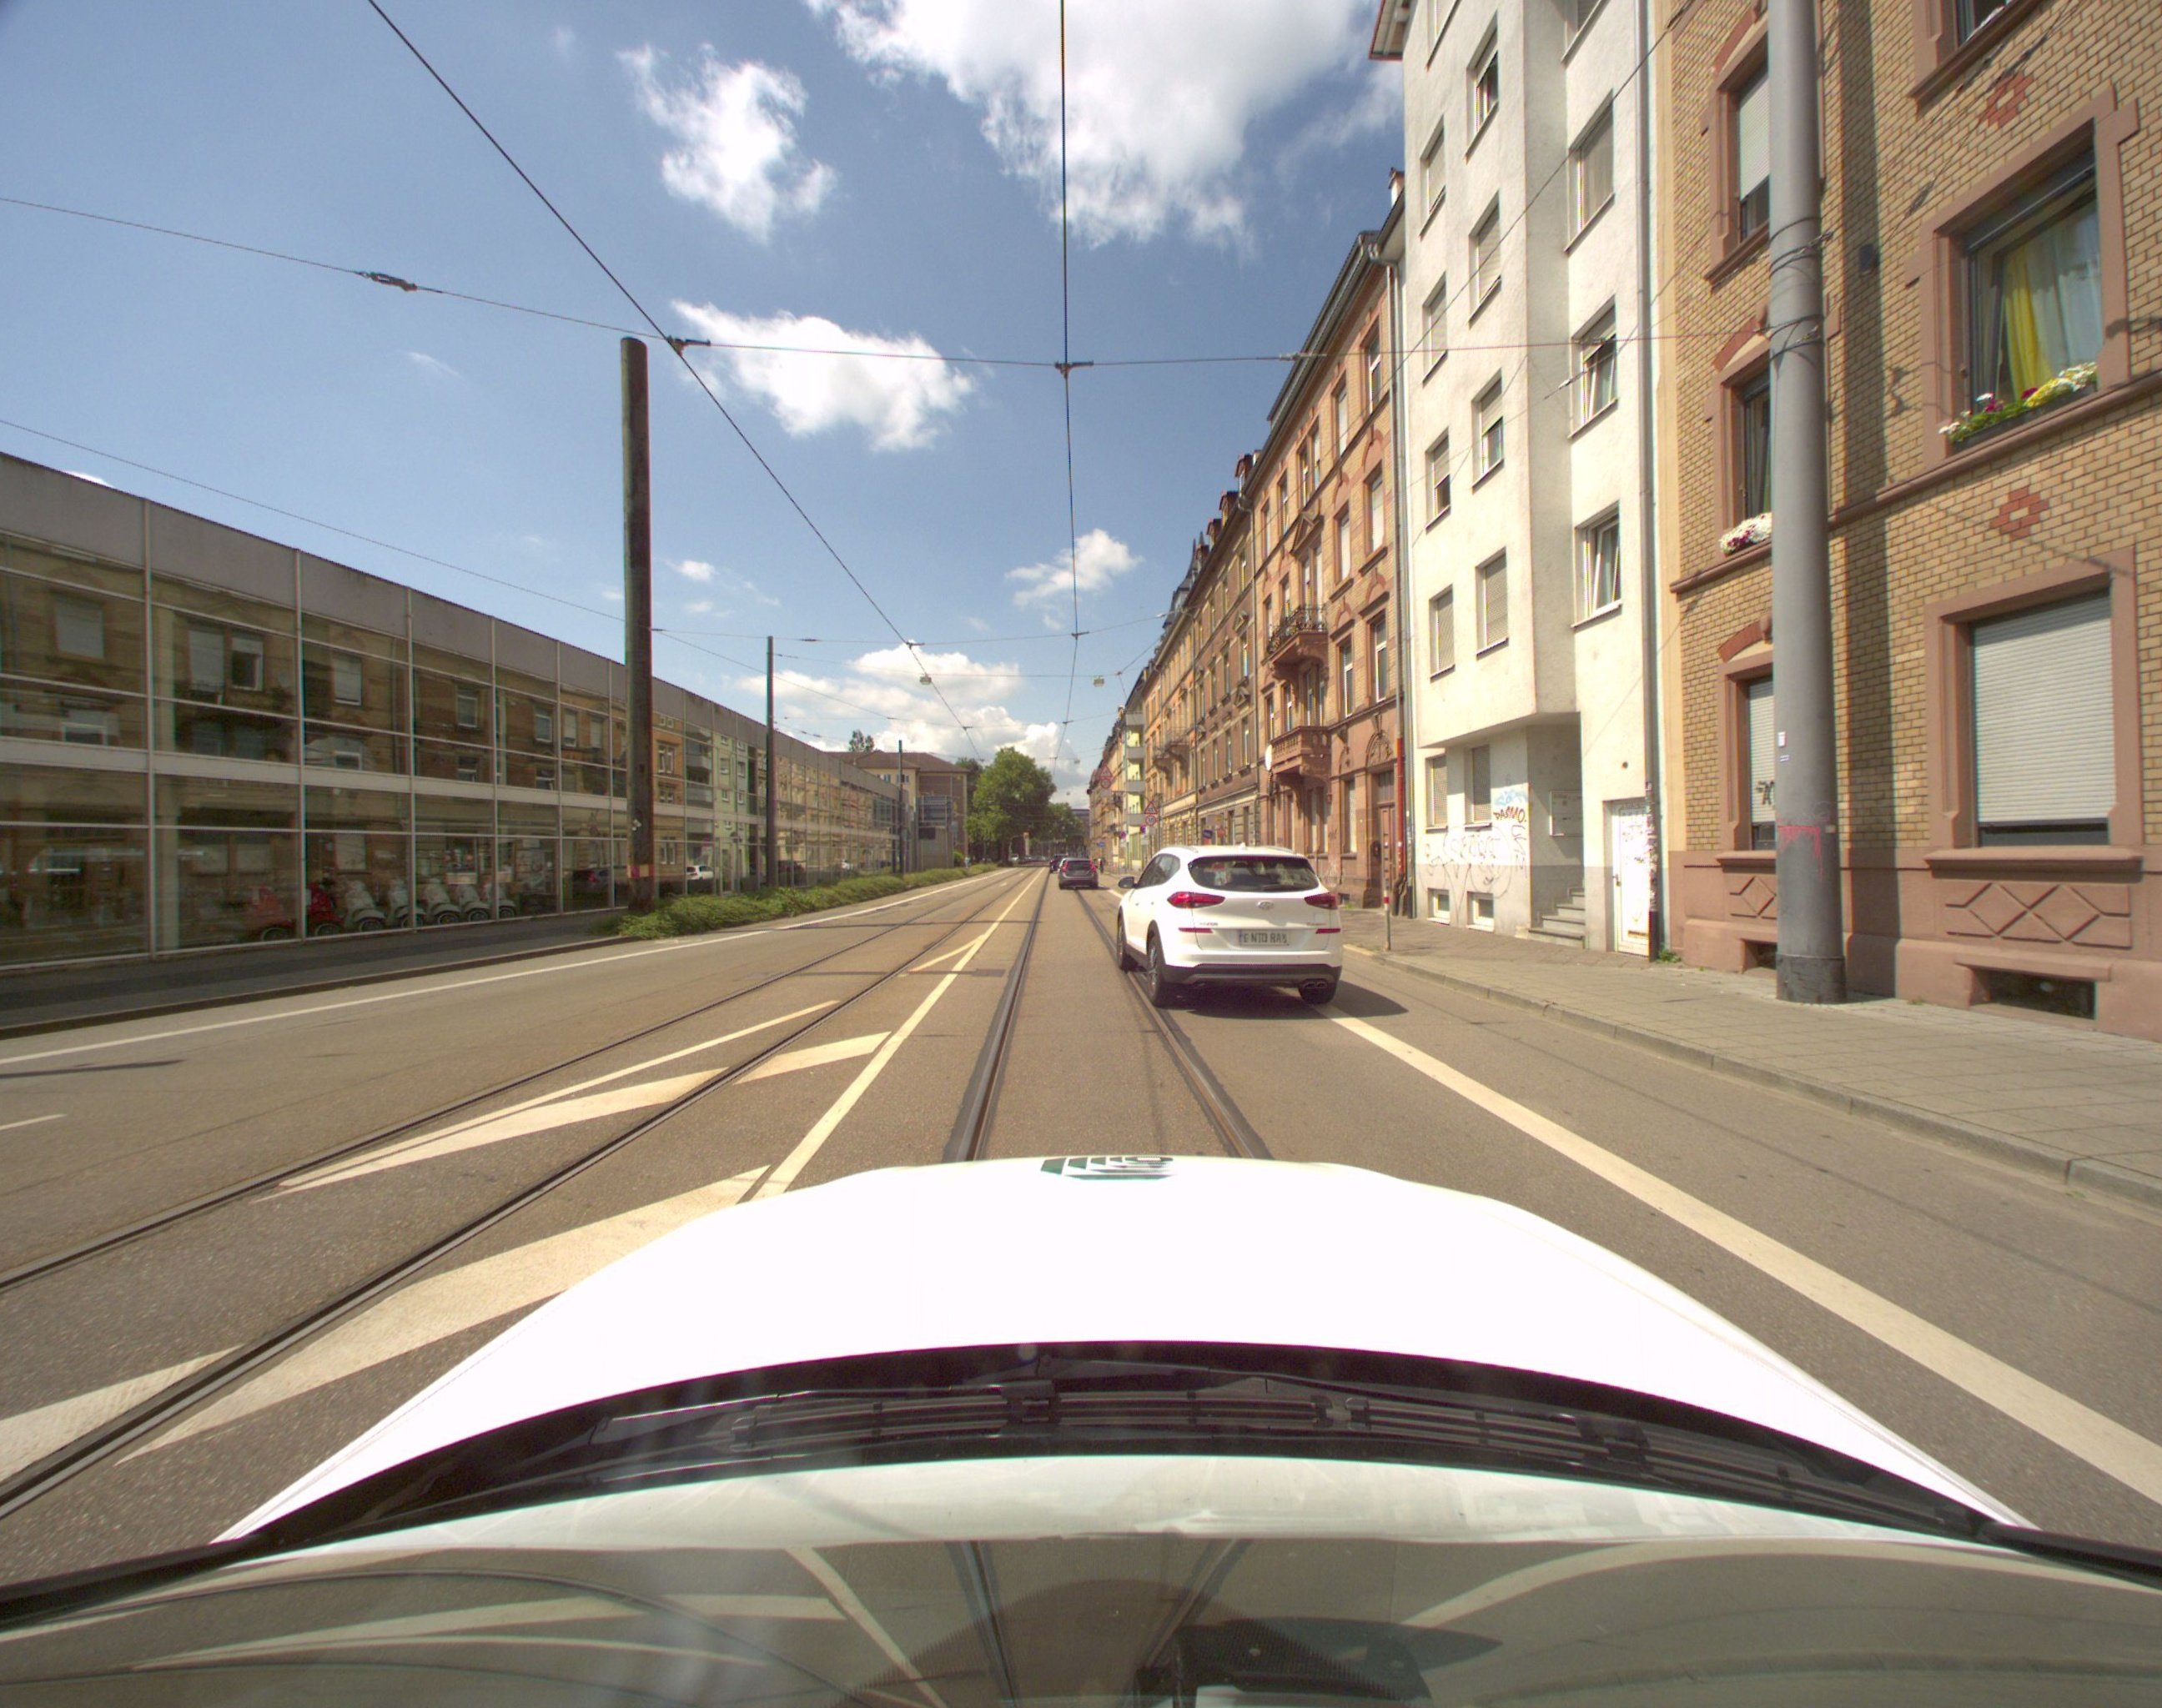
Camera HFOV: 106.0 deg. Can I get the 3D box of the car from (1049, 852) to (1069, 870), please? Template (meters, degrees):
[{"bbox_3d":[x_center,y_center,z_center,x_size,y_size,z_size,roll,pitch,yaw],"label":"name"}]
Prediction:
[{"bbox_3d":[-2.071,0.626,75.542,1.810,1.661,4.082,-1,0,-2],"label":"car"}]

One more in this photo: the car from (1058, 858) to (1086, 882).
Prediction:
[{"bbox_3d":[-0.625,1.044,55.358,1.810,1.524,3.952,-1,0,-2],"label":"car"}]

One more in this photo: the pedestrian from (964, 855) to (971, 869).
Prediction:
[{"bbox_3d":[-15.583,1.054,111.830,0.877,1.865,1.080,-2,0,-2],"label":"pedestrian"}]

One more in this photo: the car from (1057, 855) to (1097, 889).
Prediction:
[{"bbox_3d":[-0.152,0.831,39.192,1.808,1.524,4.086,-1,0,1],"label":"car"}]

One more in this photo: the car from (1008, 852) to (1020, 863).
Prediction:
[{"bbox_3d":[-12.661,0.665,154.342,1.945,1.895,4.561,0,0,-2],"label":"car"}]

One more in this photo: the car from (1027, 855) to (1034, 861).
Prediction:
[{"bbox_3d":[-13.635,1.074,218.495,1.946,1.632,3.994,0,0,-4],"label":"car"}]

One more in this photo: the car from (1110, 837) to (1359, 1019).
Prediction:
[{"bbox_3d":[1.498,0.670,9.576,1.849,1.634,4.174,-1,0,-4],"label":"car"}]

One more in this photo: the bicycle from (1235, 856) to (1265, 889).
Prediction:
[{"bbox_3d":[6.304,0.677,30.498,0.585,1.178,2.204,-2,0,-1],"label":"bicycle"}]
